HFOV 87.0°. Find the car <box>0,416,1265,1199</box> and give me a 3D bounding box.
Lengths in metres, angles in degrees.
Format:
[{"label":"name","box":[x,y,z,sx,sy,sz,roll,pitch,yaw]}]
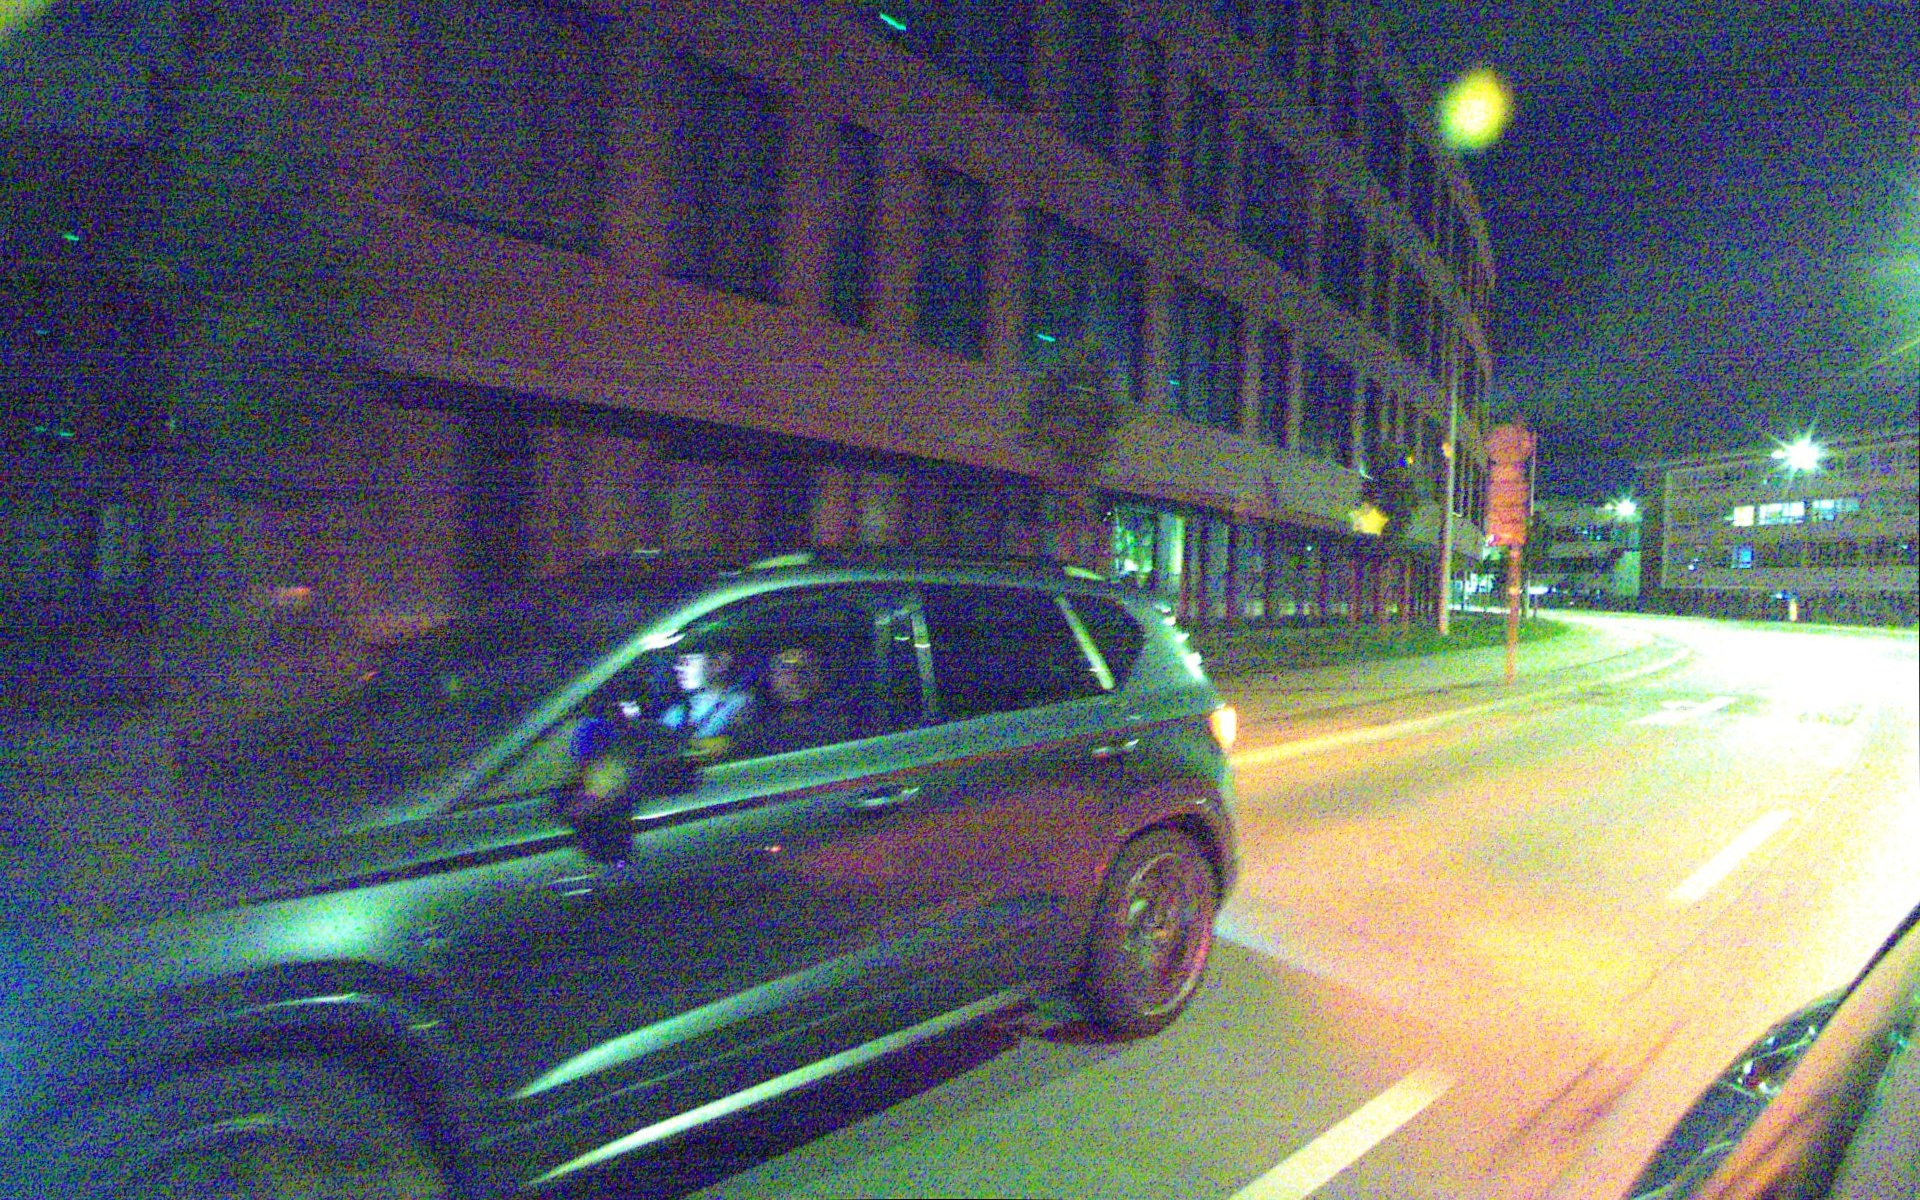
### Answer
[{"label":"car","box":[-0.975,0.536,2.900,4.158,1.630,1.672,-1,1,-43]}]
